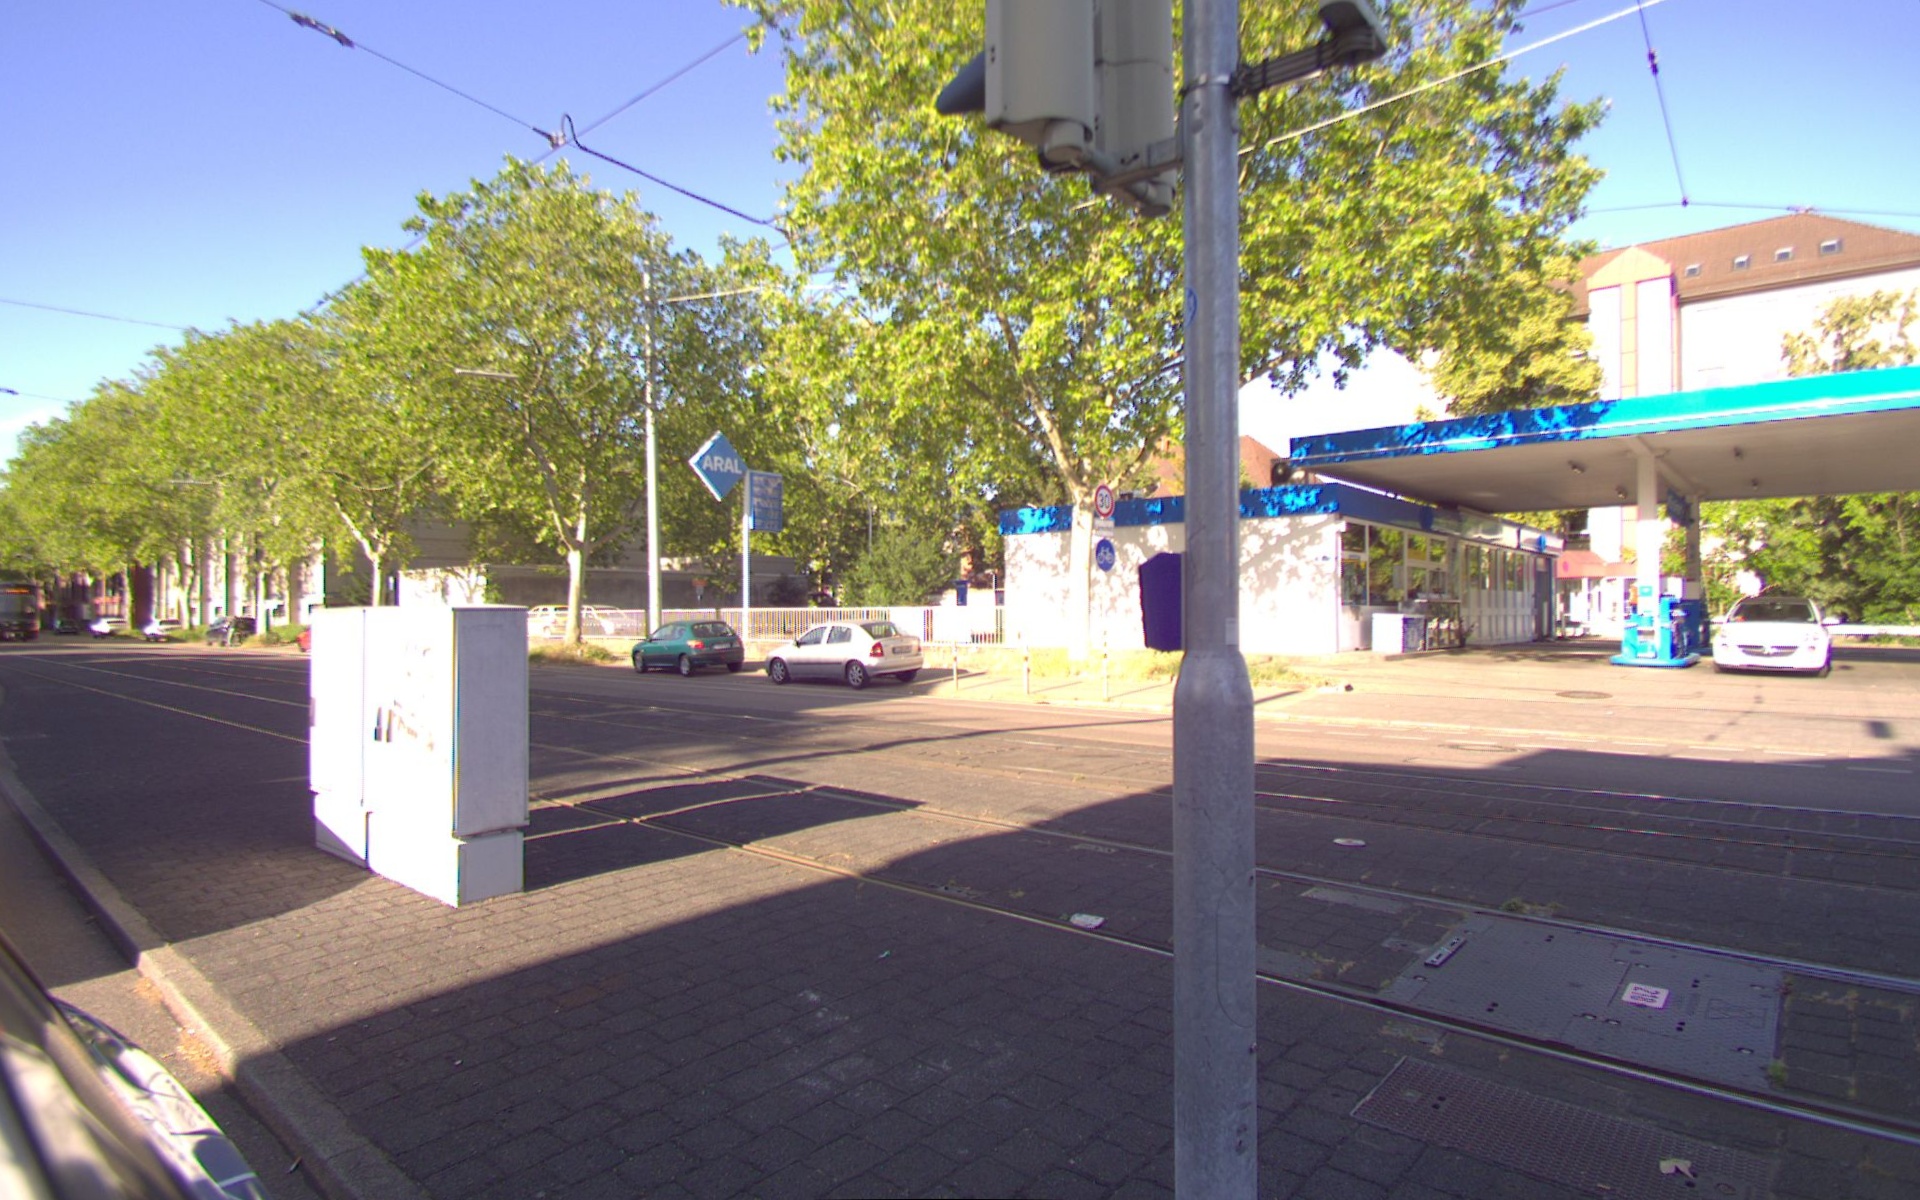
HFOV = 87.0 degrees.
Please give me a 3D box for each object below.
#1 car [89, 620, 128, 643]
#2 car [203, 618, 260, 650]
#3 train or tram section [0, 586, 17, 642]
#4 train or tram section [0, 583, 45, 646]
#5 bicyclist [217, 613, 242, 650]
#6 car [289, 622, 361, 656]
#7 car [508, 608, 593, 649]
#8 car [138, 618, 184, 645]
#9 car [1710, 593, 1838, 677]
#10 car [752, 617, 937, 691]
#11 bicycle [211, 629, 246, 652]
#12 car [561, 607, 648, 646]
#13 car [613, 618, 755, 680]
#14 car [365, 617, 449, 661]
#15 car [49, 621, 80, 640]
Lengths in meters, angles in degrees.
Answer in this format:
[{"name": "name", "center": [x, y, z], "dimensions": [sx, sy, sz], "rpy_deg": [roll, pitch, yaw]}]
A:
[{"name": "car", "center": [-66.971, 2.445, 79.571], "dimensions": [4.098, 1.686, 1.821], "rpy_deg": [-1, 1, 44]}, {"name": "car", "center": [-40.680, 1.850, 56.478], "dimensions": [4.098, 1.628, 1.821], "rpy_deg": [-1, 1, 44]}, {"name": "train or tram section", "center": [-64.647, 0.915, 66.605], "dimensions": [10.179, 3.503, 2.806], "rpy_deg": [-1, 0, 42]}, {"name": "train or tram section", "center": [-56.995, 0.839, 59.933], "dimensions": [10.175, 3.503, 2.826], "rpy_deg": [-1, 0, 40]}, {"name": "bicyclist", "center": [-37.352, 1.616, 51.732], "dimensions": [1.068, 1.878, 0.712], "rpy_deg": [-1, -1, 35]}, {"name": "car", "center": [-28.987, 1.742, 46.179], "dimensions": [4.001, 1.418, 1.821], "rpy_deg": [-1, 1, 44]}, {"name": "car", "center": [-17.156, 1.164, 42.281], "dimensions": [4.002, 1.545, 1.820], "rpy_deg": [-1, 1, 45]}, {"name": "car", "center": [-53.866, 2.121, 68.201], "dimensions": [4.098, 1.686, 1.821], "rpy_deg": [-1, 1, 44]}, {"name": "car", "center": [16.008, 0.651, 19.867], "dimensions": [1.780, 1.475, 3.946], "rpy_deg": [-1, -1, 40]}, {"name": "car", "center": [-2.641, 1.155, 22.649], "dimensions": [3.997, 1.418, 1.823], "rpy_deg": [-1, 1, 40]}, {"name": "bicycle", "center": [-37.346, 2.038, 51.646], "dimensions": [2.527, 1.129, 0.647], "rpy_deg": [-1, -1, 35]}, {"name": "car", "center": [-15.415, 1.140, 43.774], "dimensions": [3.999, 1.545, 1.822], "rpy_deg": [-1, 1, 42]}, {"name": "car", "center": [-7.449, 1.251, 27.137], "dimensions": [4.138, 1.418, 1.820], "rpy_deg": [-1, 1, 45]}, {"name": "car", "center": [-21.986, 1.512, 40.187], "dimensions": [4.002, 1.545, 1.820], "rpy_deg": [-1, 1, 45]}, {"name": "car", "center": [-85.071, 2.897, 96.091], "dimensions": [4.098, 1.686, 1.821], "rpy_deg": [-1, 1, 44]}]
